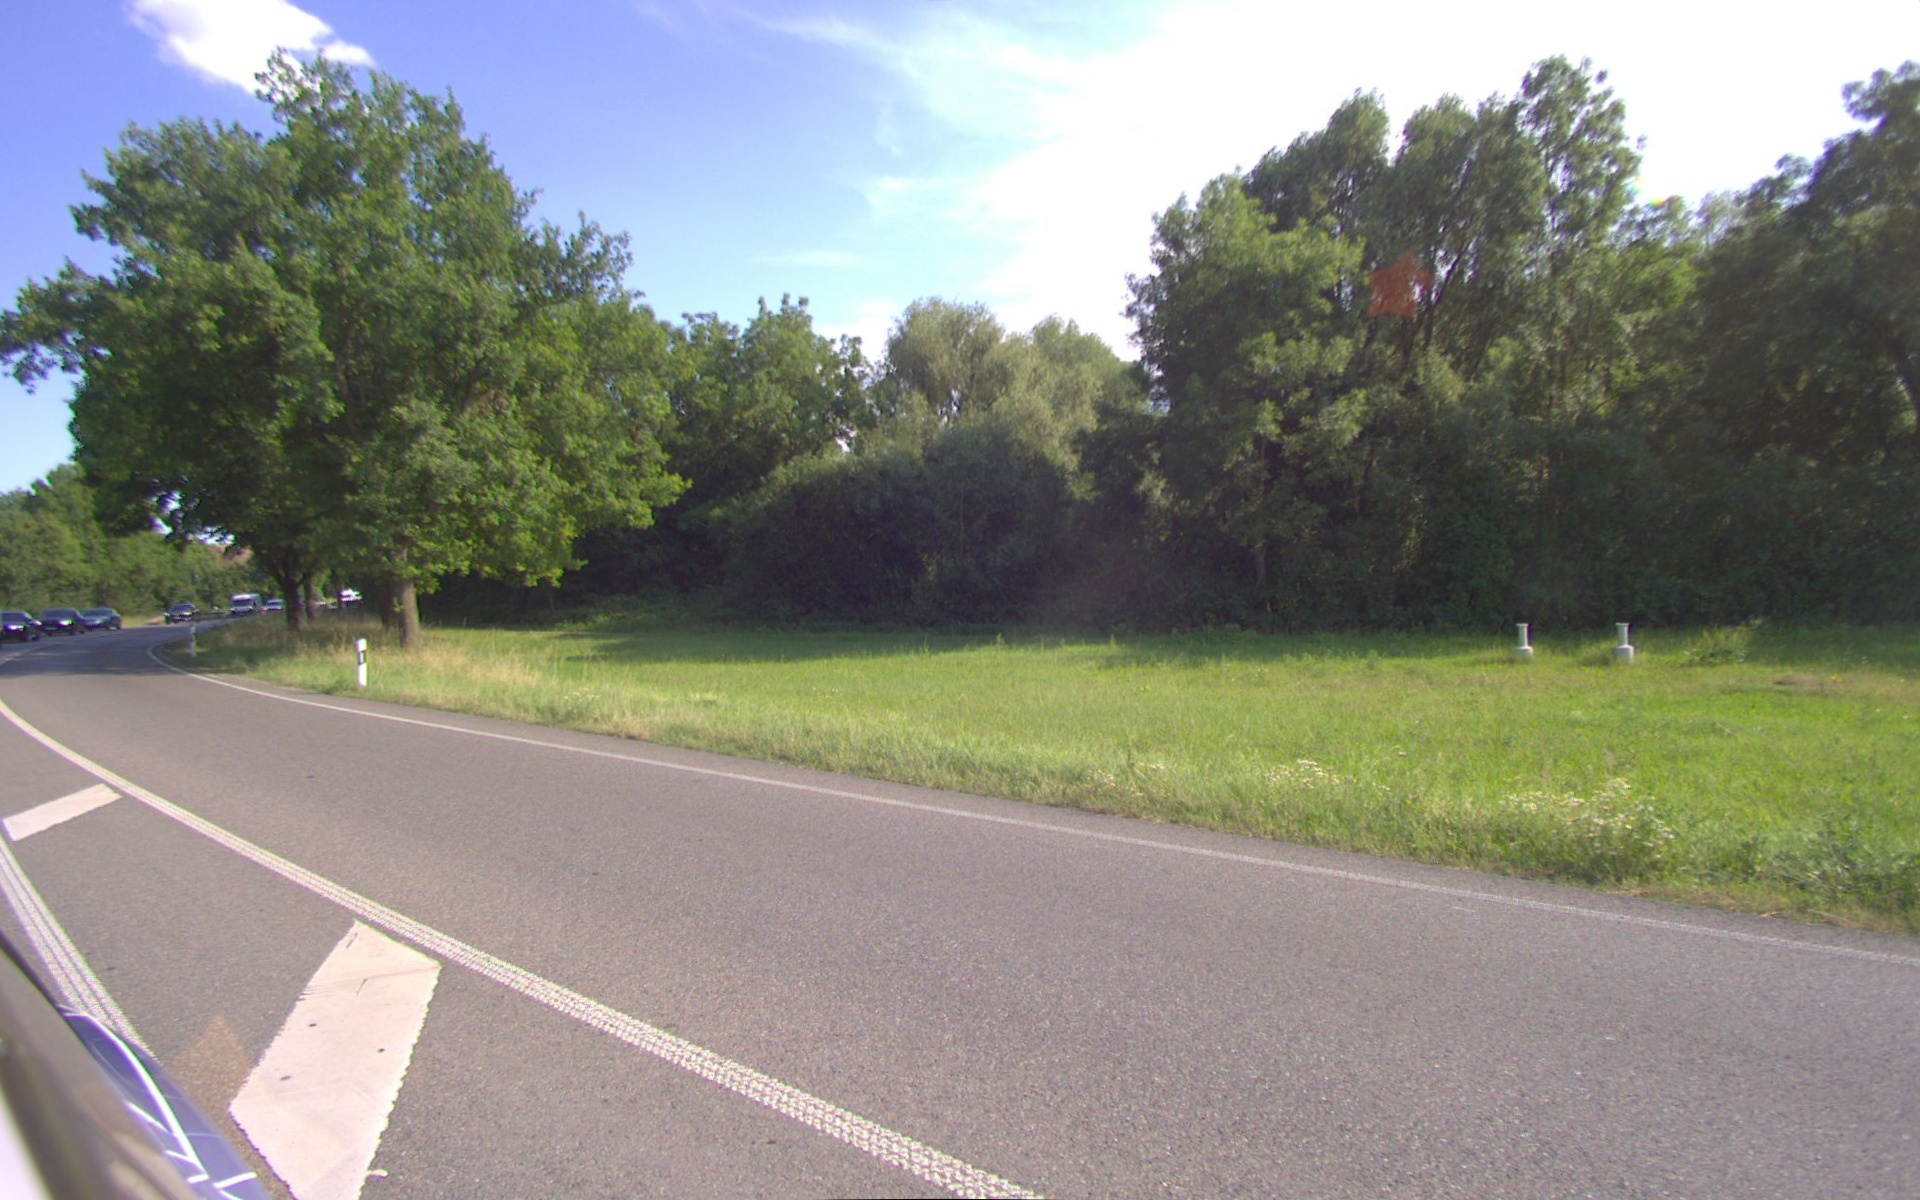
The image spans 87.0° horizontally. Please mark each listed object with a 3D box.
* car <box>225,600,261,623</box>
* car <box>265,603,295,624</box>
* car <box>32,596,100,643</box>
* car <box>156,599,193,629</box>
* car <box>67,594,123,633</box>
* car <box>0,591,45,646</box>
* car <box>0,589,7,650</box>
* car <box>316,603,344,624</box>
[{"bbox_3d":[-79.221,1.209,111.902,2.054,2.435,5.159,-1,1,-22],"label":"car"},{"bbox_3d":[-84.871,1.691,126.361,2.054,2.435,5.159,-1,1,-22],"label":"car"},{"bbox_3d":[-50.032,1.039,56.747,2.055,2.435,5.156,-1,1,-33],"label":"car"},{"bbox_3d":[-66.882,1.128,86.247,2.055,2.435,5.156,-1,1,-33],"label":"car"},{"bbox_3d":[-56.779,0.824,66.504,2.055,2.435,5.156,-1,1,-33],"label":"car"},{"bbox_3d":[-44.369,0.828,46.887,2.055,2.435,5.156,-1,1,-33],"label":"car"},{"bbox_3d":[-38.208,0.801,38.453,2.055,2.435,5.156,-1,1,-34],"label":"car"},{"bbox_3d":[-76.797,1.616,123.426,2.054,2.435,5.159,-1,1,-22],"label":"car"}]
